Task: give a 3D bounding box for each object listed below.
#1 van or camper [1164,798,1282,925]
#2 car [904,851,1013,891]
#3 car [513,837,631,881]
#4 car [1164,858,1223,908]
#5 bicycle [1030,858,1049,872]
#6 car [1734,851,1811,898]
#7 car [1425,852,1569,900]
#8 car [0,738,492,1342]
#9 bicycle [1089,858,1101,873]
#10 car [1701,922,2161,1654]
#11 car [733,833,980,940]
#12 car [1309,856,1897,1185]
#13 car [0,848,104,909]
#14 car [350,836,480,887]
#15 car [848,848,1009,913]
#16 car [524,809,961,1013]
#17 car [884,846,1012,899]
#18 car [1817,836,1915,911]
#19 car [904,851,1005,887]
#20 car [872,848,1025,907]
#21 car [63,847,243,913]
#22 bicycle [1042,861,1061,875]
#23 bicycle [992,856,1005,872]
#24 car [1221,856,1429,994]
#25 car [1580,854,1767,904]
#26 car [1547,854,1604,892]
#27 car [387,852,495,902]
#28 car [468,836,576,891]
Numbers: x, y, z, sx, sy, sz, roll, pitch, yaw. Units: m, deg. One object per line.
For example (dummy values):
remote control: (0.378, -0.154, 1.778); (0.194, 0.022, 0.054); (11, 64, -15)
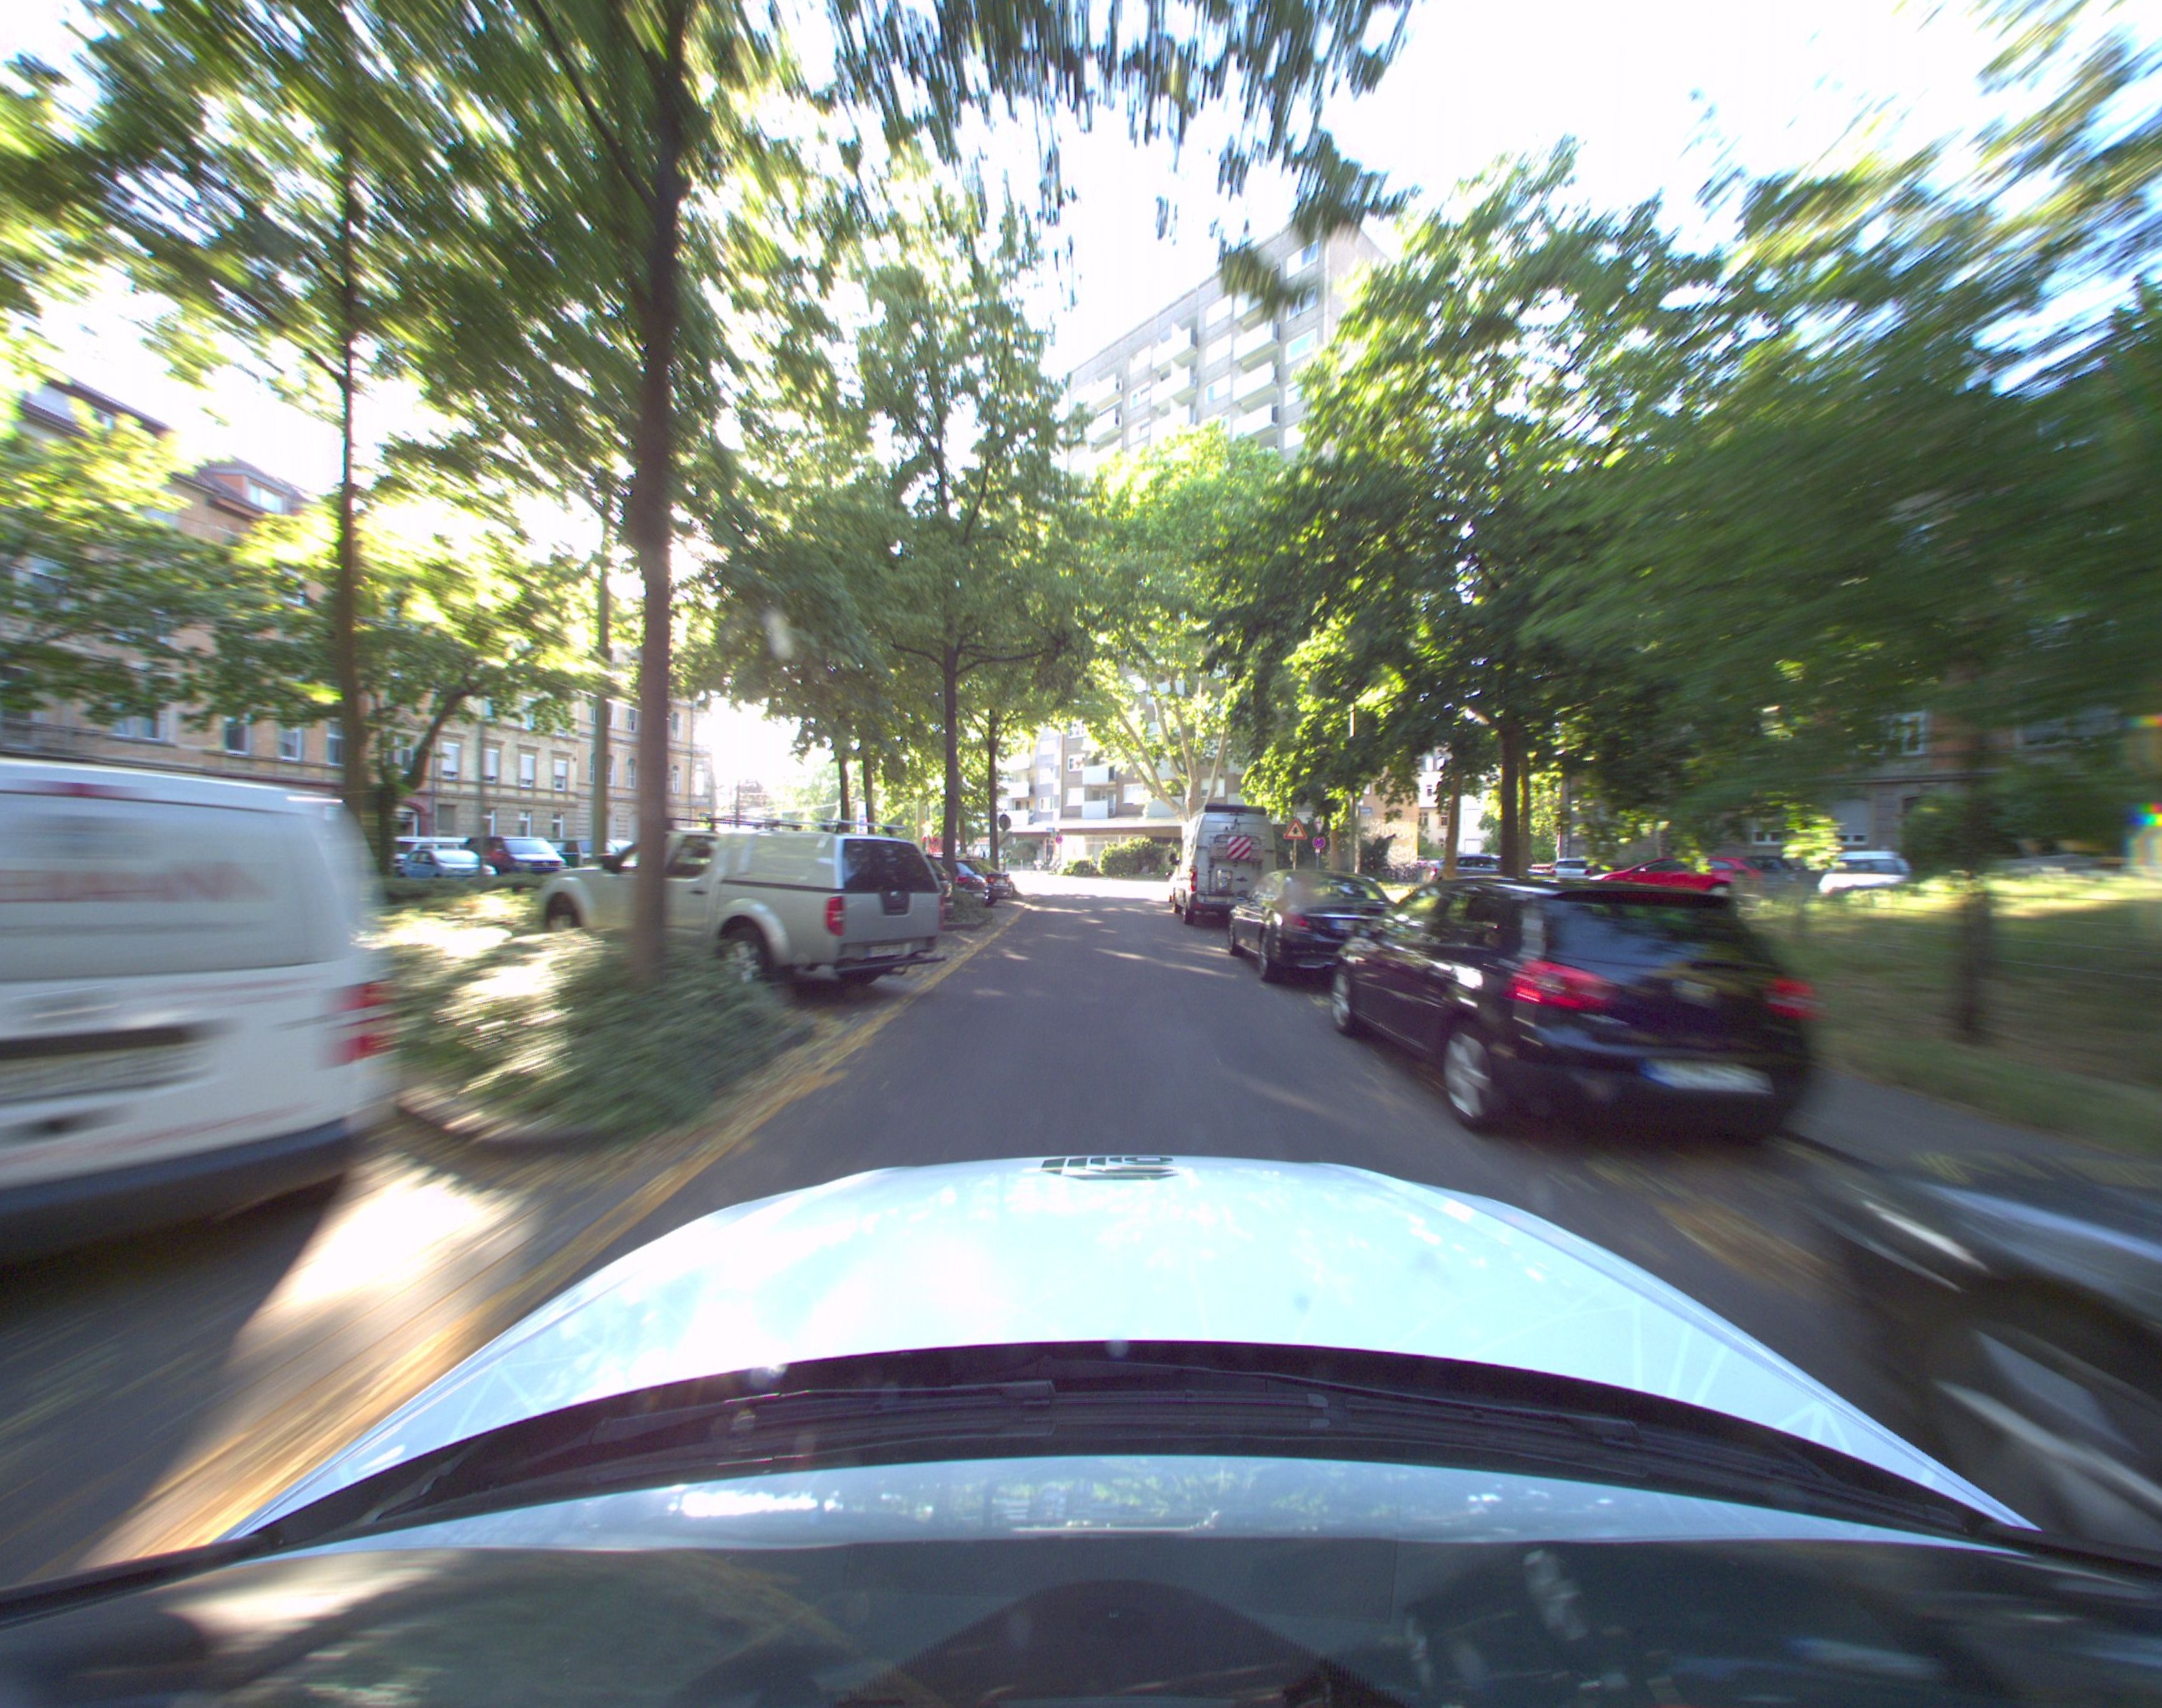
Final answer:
van or camper: (3.403, 0.161, 20.725); (2.076, 2.762, 5.846); (1, 0, 1)
car: (-5.020, 0.681, 33.404); (3.943, 1.365, 1.782); (3, 0, 16)
car: (-21.701, 0.184, 34.711); (4.776, 1.764, 2.097); (0, 0, 27)
car: (3.770, 0.928, 27.723); (1.673, 1.446, 3.876); (3, 0, 4)
bicycle: (-3.041, 0.781, 59.463); (0.642, 1.022, 2.070); (0, 0, -26)
car: (25.731, 0.714, 30.403); (1.884, 1.618, 3.801); (0, 0, 36)
car: (14.777, 0.753, 29.070); (1.752, 1.552, 4.224); (5, -3, -44)
car: (-4.686, 0.461, 3.782); (4.107, 1.781, 1.895); (3, 0, 36)
bicycle: (0.973, 0.769, 56.911); (0.351, 1.038, 1.041); (0, 0, -35)
car: (2.895, 0.880, 0.541); (1.675, 1.283, 4.285); (1, 0, -1)
car: (-4.333, 0.552, 15.616); (4.304, 1.626, 1.953); (3, 0, 28)
car: (3.089, 0.799, 6.025); (1.674, 1.525, 4.288); (1, 0, 1)
car: (-30.015, 0.667, 22.206); (1.846, 1.518, 4.057); (3, 1, -2)
car: (-30.265, 0.277, 37.247); (1.847, 2.063, 4.997); (3, 1, -2)
car: (-4.113, 0.686, 21.968); (3.825, 1.439, 1.842); (3, 0, 25)
car: (-4.090, 0.502, 9.683); (4.940, 1.781, 1.999); (3, 0, 28)
car: (-4.537, 0.605, 27.731); (3.837, 1.494, 1.842); (3, 0, 27)
car: (20.648, 0.550, 21.391); (4.426, 1.708, 1.712); (5, -3, -45)
car: (-5.600, 0.672, 36.231); (3.998, 1.406, 1.781); (2, -1, 15)
car: (-3.986, 0.668, 24.541); (4.149, 1.439, 1.842); (3, 0, 25)
car: (-21.484, 0.541, 18.848); (3.693, 1.381, 1.737); (0, 0, 24)
bicycle: (-2.098, 0.990, 57.613); (0.546, 0.904, 1.717); (0, 0, -34)
bicycle: (-6.652, 0.784, 65.457); (0.640, 1.226, 2.076); (0, 0, -17)
car: (3.153, 0.815, 11.490); (1.674, 1.525, 4.490); (1, 0, 1)
car: (18.494, 0.747, 25.571); (4.587, 1.449, 1.754); (0, -2, 43)
car: (21.554, 0.772, 35.453); (1.712, 1.473, 4.026); (0, 2, 37)
car: (-22.268, 0.747, 28.319); (3.604, 1.640, 1.671); (0, 0, 29)
car: (-21.839, 0.348, 31.774); (3.949, 2.013, 2.013); (0, 0, 31)
